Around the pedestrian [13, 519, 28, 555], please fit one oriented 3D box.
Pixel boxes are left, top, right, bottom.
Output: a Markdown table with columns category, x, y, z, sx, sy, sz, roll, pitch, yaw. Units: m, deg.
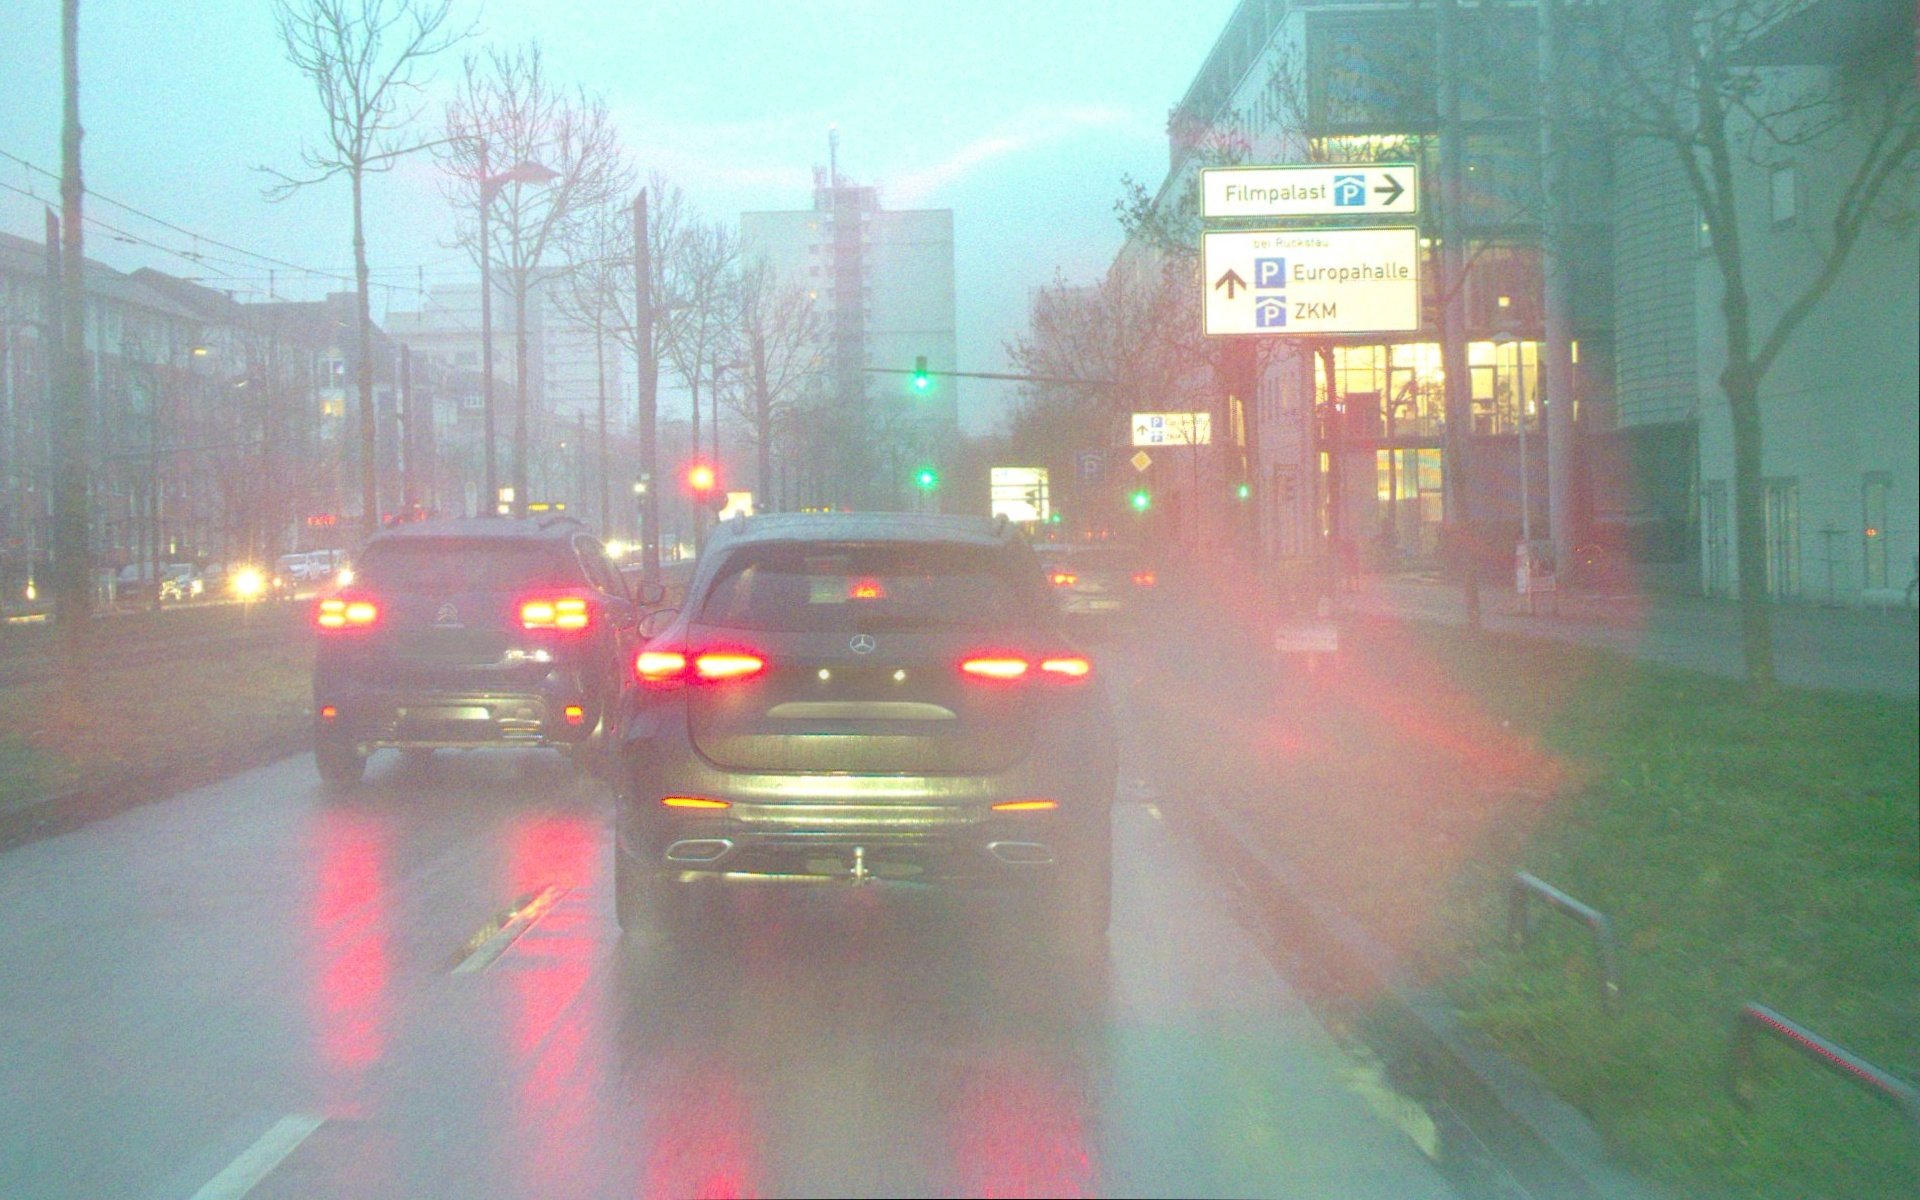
| category | x | y | z | sx | sy | sz | roll | pitch | yaw |
| --- | --- | --- | --- | --- | --- | --- | --- | --- | --- |
| pedestrian | -30.938 | -2.062 | 113.210 | 0.345 | 1.180 | 0.434 | 0 | 1 | -41 |

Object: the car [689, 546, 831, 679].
| category | x | y | z | sx | sy | sz | roll | pitch | yaw |
| --- | --- | --- | --- | --- | --- | --- | --- | --- | --- |
| car | -2.579 | 0.127 | 44.929 | 1.689 | 1.629 | 3.474 | 1 | 1 | -1 |

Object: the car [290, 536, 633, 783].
| category | x | y | z | sx | sy | sz | roll | pitch | yaw |
| --- | --- | --- | --- | --- | --- | --- | --- | --- | --- |
| car | -3.166 | 0.319 | 22.542 | 1.817 | 1.445 | 4.001 | 1 | 1 | -2 |

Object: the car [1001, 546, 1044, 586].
| category | x | y | z | sx | sy | sz | roll | pitch | yaw |
| --- | --- | --- | --- | --- | --- | --- | --- | --- | --- |
| car | 2.529 | -1.390 | 138.398 | 1.615 | 1.566 | 3.351 | 1 | 1 | 3 |

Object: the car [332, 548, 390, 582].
| category | x | y | z | sx | sy | sz | roll | pitch | yaw |
| --- | --- | --- | --- | --- | --- | --- | --- | --- | --- |
| car | -27.022 | -1.589 | 155.086 | 1.880 | 1.497 | 4.791 | 1 | 1 | -1 |

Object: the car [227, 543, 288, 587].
| category | x | y | z | sx | sy | sz | roll | pitch | yaw |
| --- | --- | --- | --- | --- | --- | --- | --- | --- | --- |
| car | -26.717 | -1.350 | 130.855 | 1.613 | 1.617 | 3.509 | 1 | 1 | -1 |

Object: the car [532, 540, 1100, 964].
| category | x | y | z | sx | sy | sz | roll | pitch | yaw |
| --- | --- | --- | --- | --- | --- | --- | --- | --- | --- |
| car | -0.535 | 0.511 | 14.029 | 1.993 | 1.478 | 3.700 | 1 | 1 | -1 |

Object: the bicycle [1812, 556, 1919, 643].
| category | x | y | z | sx | sy | sz | roll | pitch | yaw |
| --- | --- | --- | --- | --- | --- | --- | --- | --- | --- |
| bicycle | 11.707 | -0.017 | 43.340 | 1.808 | 1.048 | 0.397 | -2 | 1 | -2 |

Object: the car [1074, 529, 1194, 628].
| category | x | y | z | sx | sy | sz | roll | pitch | yaw |
| --- | --- | --- | --- | --- | --- | --- | --- | --- | --- |
| car | 2.819 | -0.381 | 56.004 | 1.867 | 1.537 | 3.610 | 1 | 1 | 2 |
